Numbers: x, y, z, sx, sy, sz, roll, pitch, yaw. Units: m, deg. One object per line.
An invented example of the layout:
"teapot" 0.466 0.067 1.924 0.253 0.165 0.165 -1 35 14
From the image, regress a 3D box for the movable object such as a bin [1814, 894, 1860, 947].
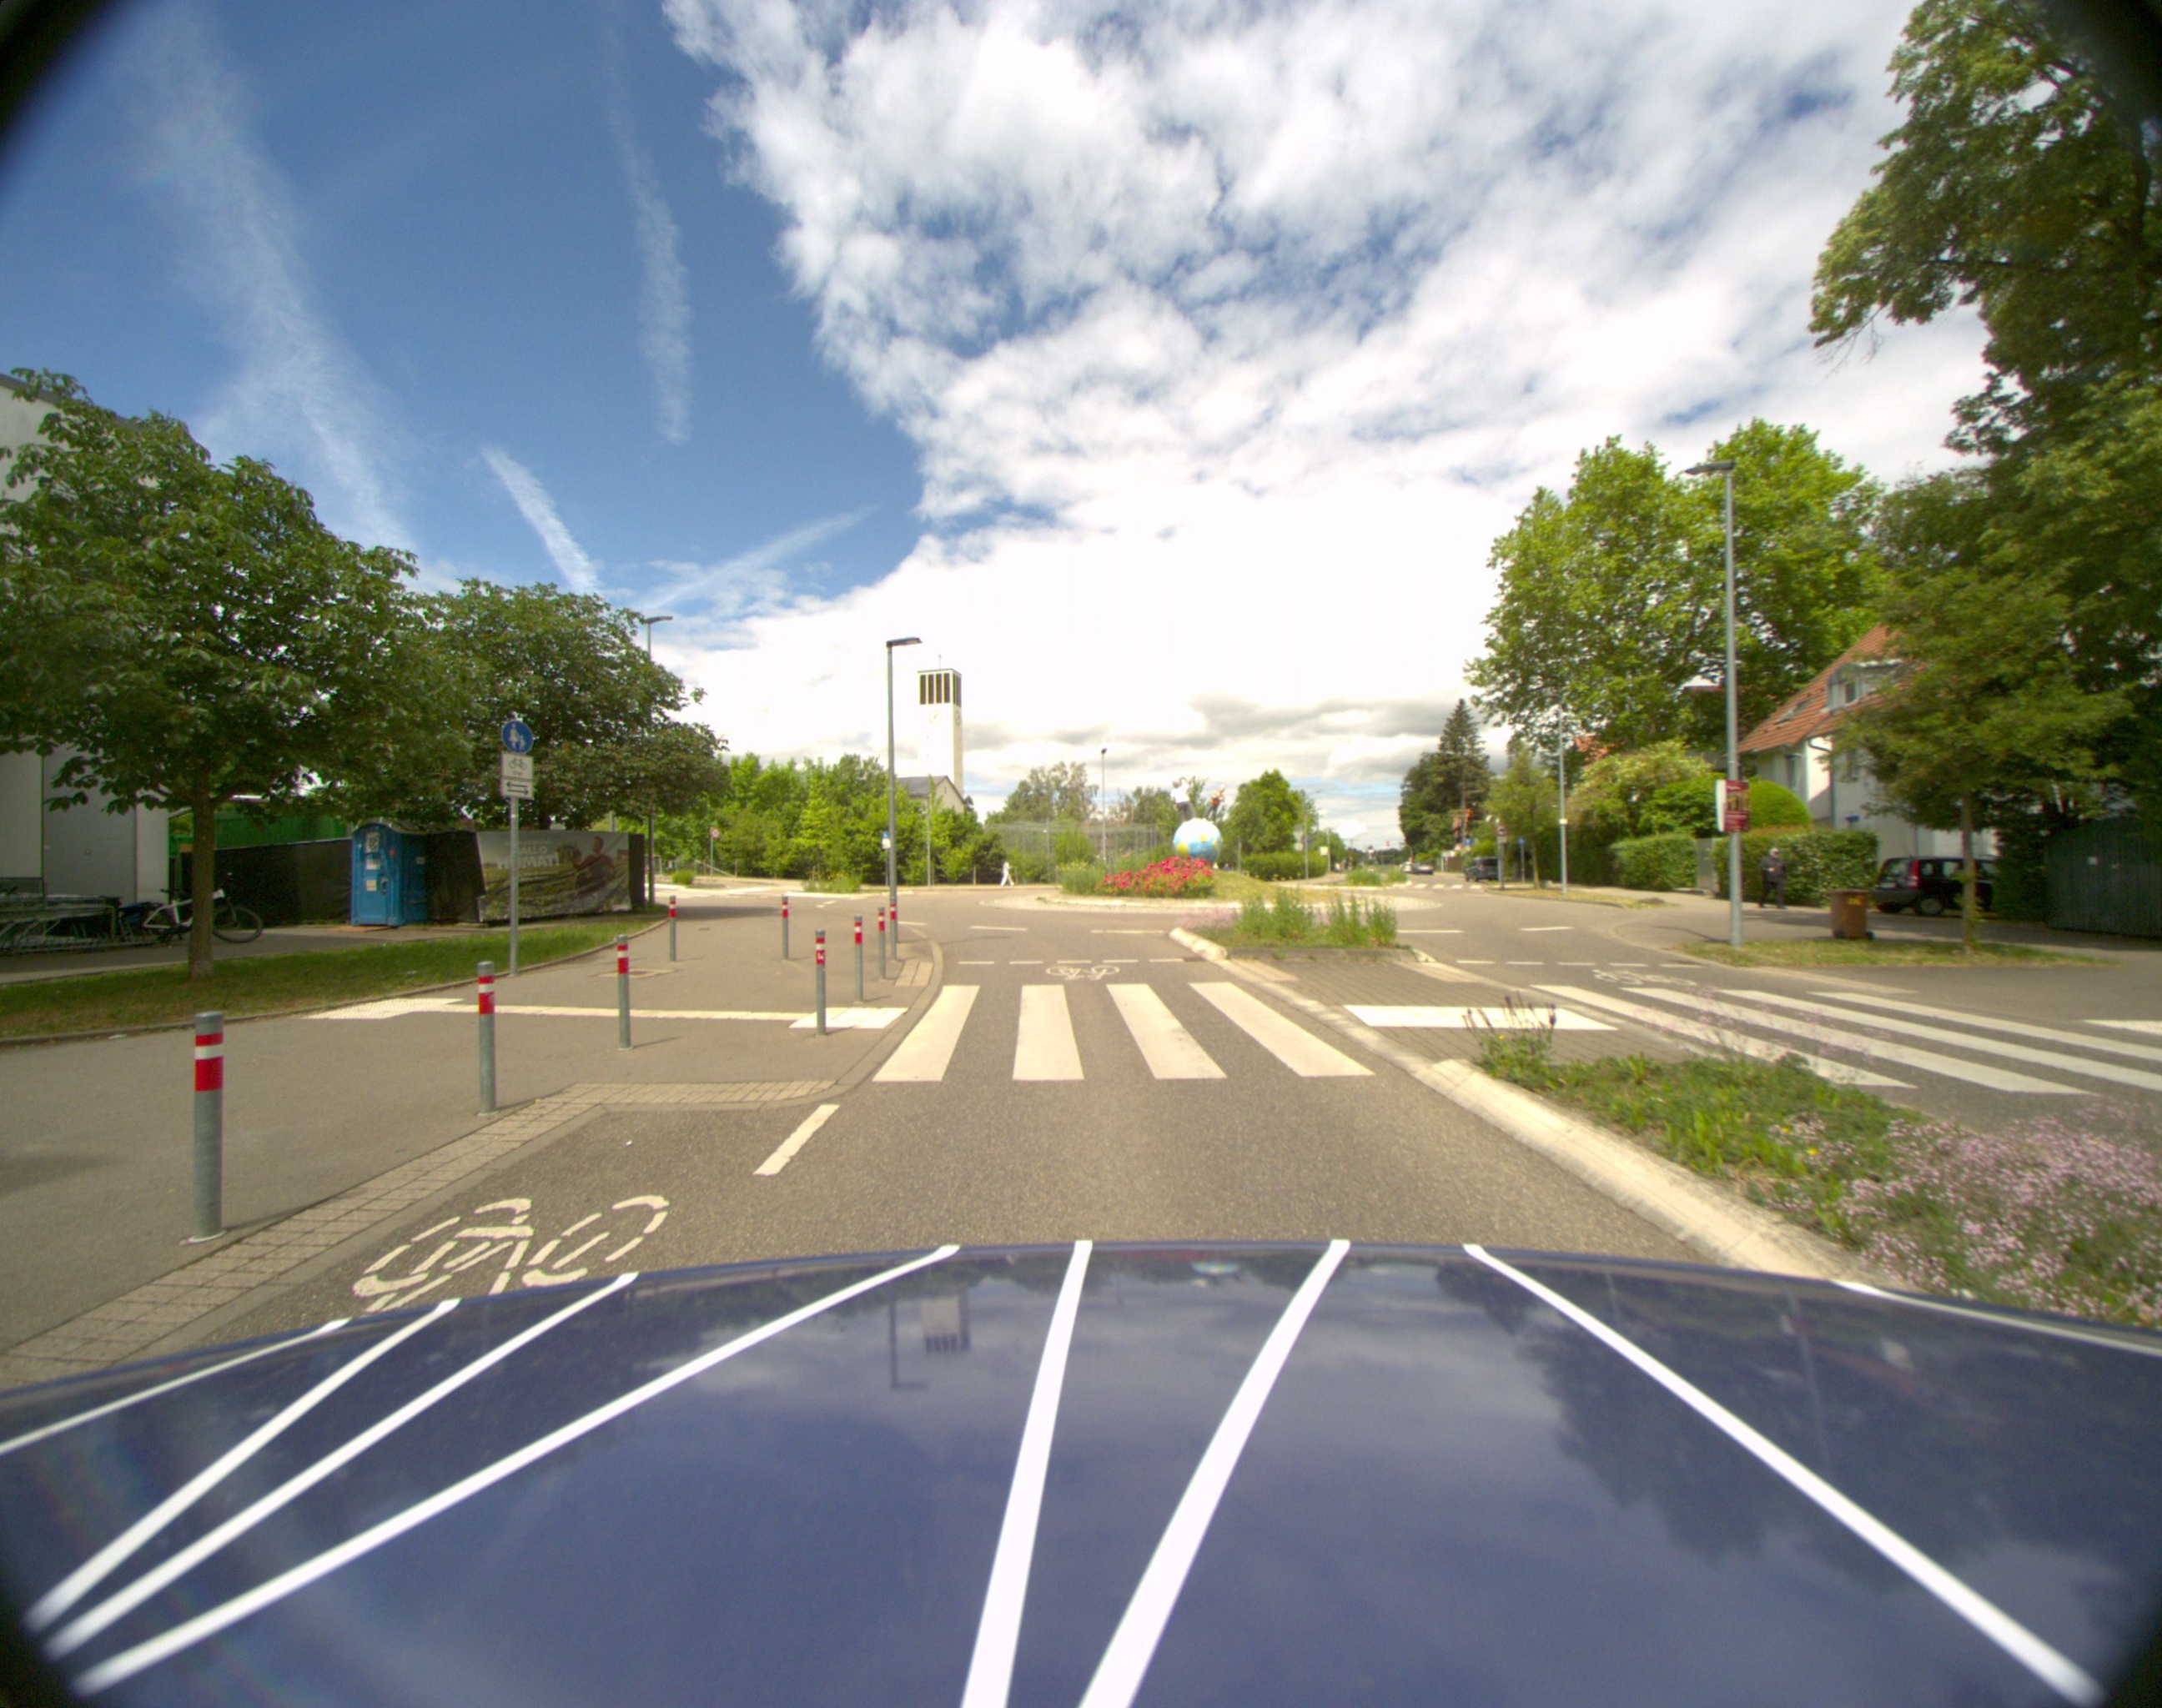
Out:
"movable object such as a bin" 13.663 1.193 13.738 0.441 0.929 0.412 0 0 -8

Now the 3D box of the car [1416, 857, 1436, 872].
"car" 40.815 1.217 89.930 1.859 1.568 4.006 -2 0 21

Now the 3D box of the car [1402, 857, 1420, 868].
"car" 51.686 1.377 119.140 1.996 1.696 4.005 0 0 15

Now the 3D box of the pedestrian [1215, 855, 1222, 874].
"pedestrian" 12.810 0.974 70.749 0.607 1.687 0.567 0 1 2

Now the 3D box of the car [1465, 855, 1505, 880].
"car" 28.084 0.911 52.898 1.678 1.652 4.005 0 0 16

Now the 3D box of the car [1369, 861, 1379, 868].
"car" 65.120 2.326 168.700 1.995 1.696 4.006 0 0 21

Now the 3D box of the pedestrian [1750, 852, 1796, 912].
"pedestrian" 19.827 0.801 21.774 0.744 1.681 0.695 -2 0 22

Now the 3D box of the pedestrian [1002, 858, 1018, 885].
"pedestrian" -4.090 1.005 43.976 0.457 1.524 0.965 -1 -1 27

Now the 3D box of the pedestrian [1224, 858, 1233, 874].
"pedestrian" 13.783 1.127 70.910 0.764 1.548 0.602 0 0 1

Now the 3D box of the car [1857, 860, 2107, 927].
"car" 22.007 0.920 18.752 3.570 1.389 1.668 2 1 21

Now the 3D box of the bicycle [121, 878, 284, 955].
"bicycle" -15.568 1.088 13.513 1.773 1.227 0.714 -2 0 -14
